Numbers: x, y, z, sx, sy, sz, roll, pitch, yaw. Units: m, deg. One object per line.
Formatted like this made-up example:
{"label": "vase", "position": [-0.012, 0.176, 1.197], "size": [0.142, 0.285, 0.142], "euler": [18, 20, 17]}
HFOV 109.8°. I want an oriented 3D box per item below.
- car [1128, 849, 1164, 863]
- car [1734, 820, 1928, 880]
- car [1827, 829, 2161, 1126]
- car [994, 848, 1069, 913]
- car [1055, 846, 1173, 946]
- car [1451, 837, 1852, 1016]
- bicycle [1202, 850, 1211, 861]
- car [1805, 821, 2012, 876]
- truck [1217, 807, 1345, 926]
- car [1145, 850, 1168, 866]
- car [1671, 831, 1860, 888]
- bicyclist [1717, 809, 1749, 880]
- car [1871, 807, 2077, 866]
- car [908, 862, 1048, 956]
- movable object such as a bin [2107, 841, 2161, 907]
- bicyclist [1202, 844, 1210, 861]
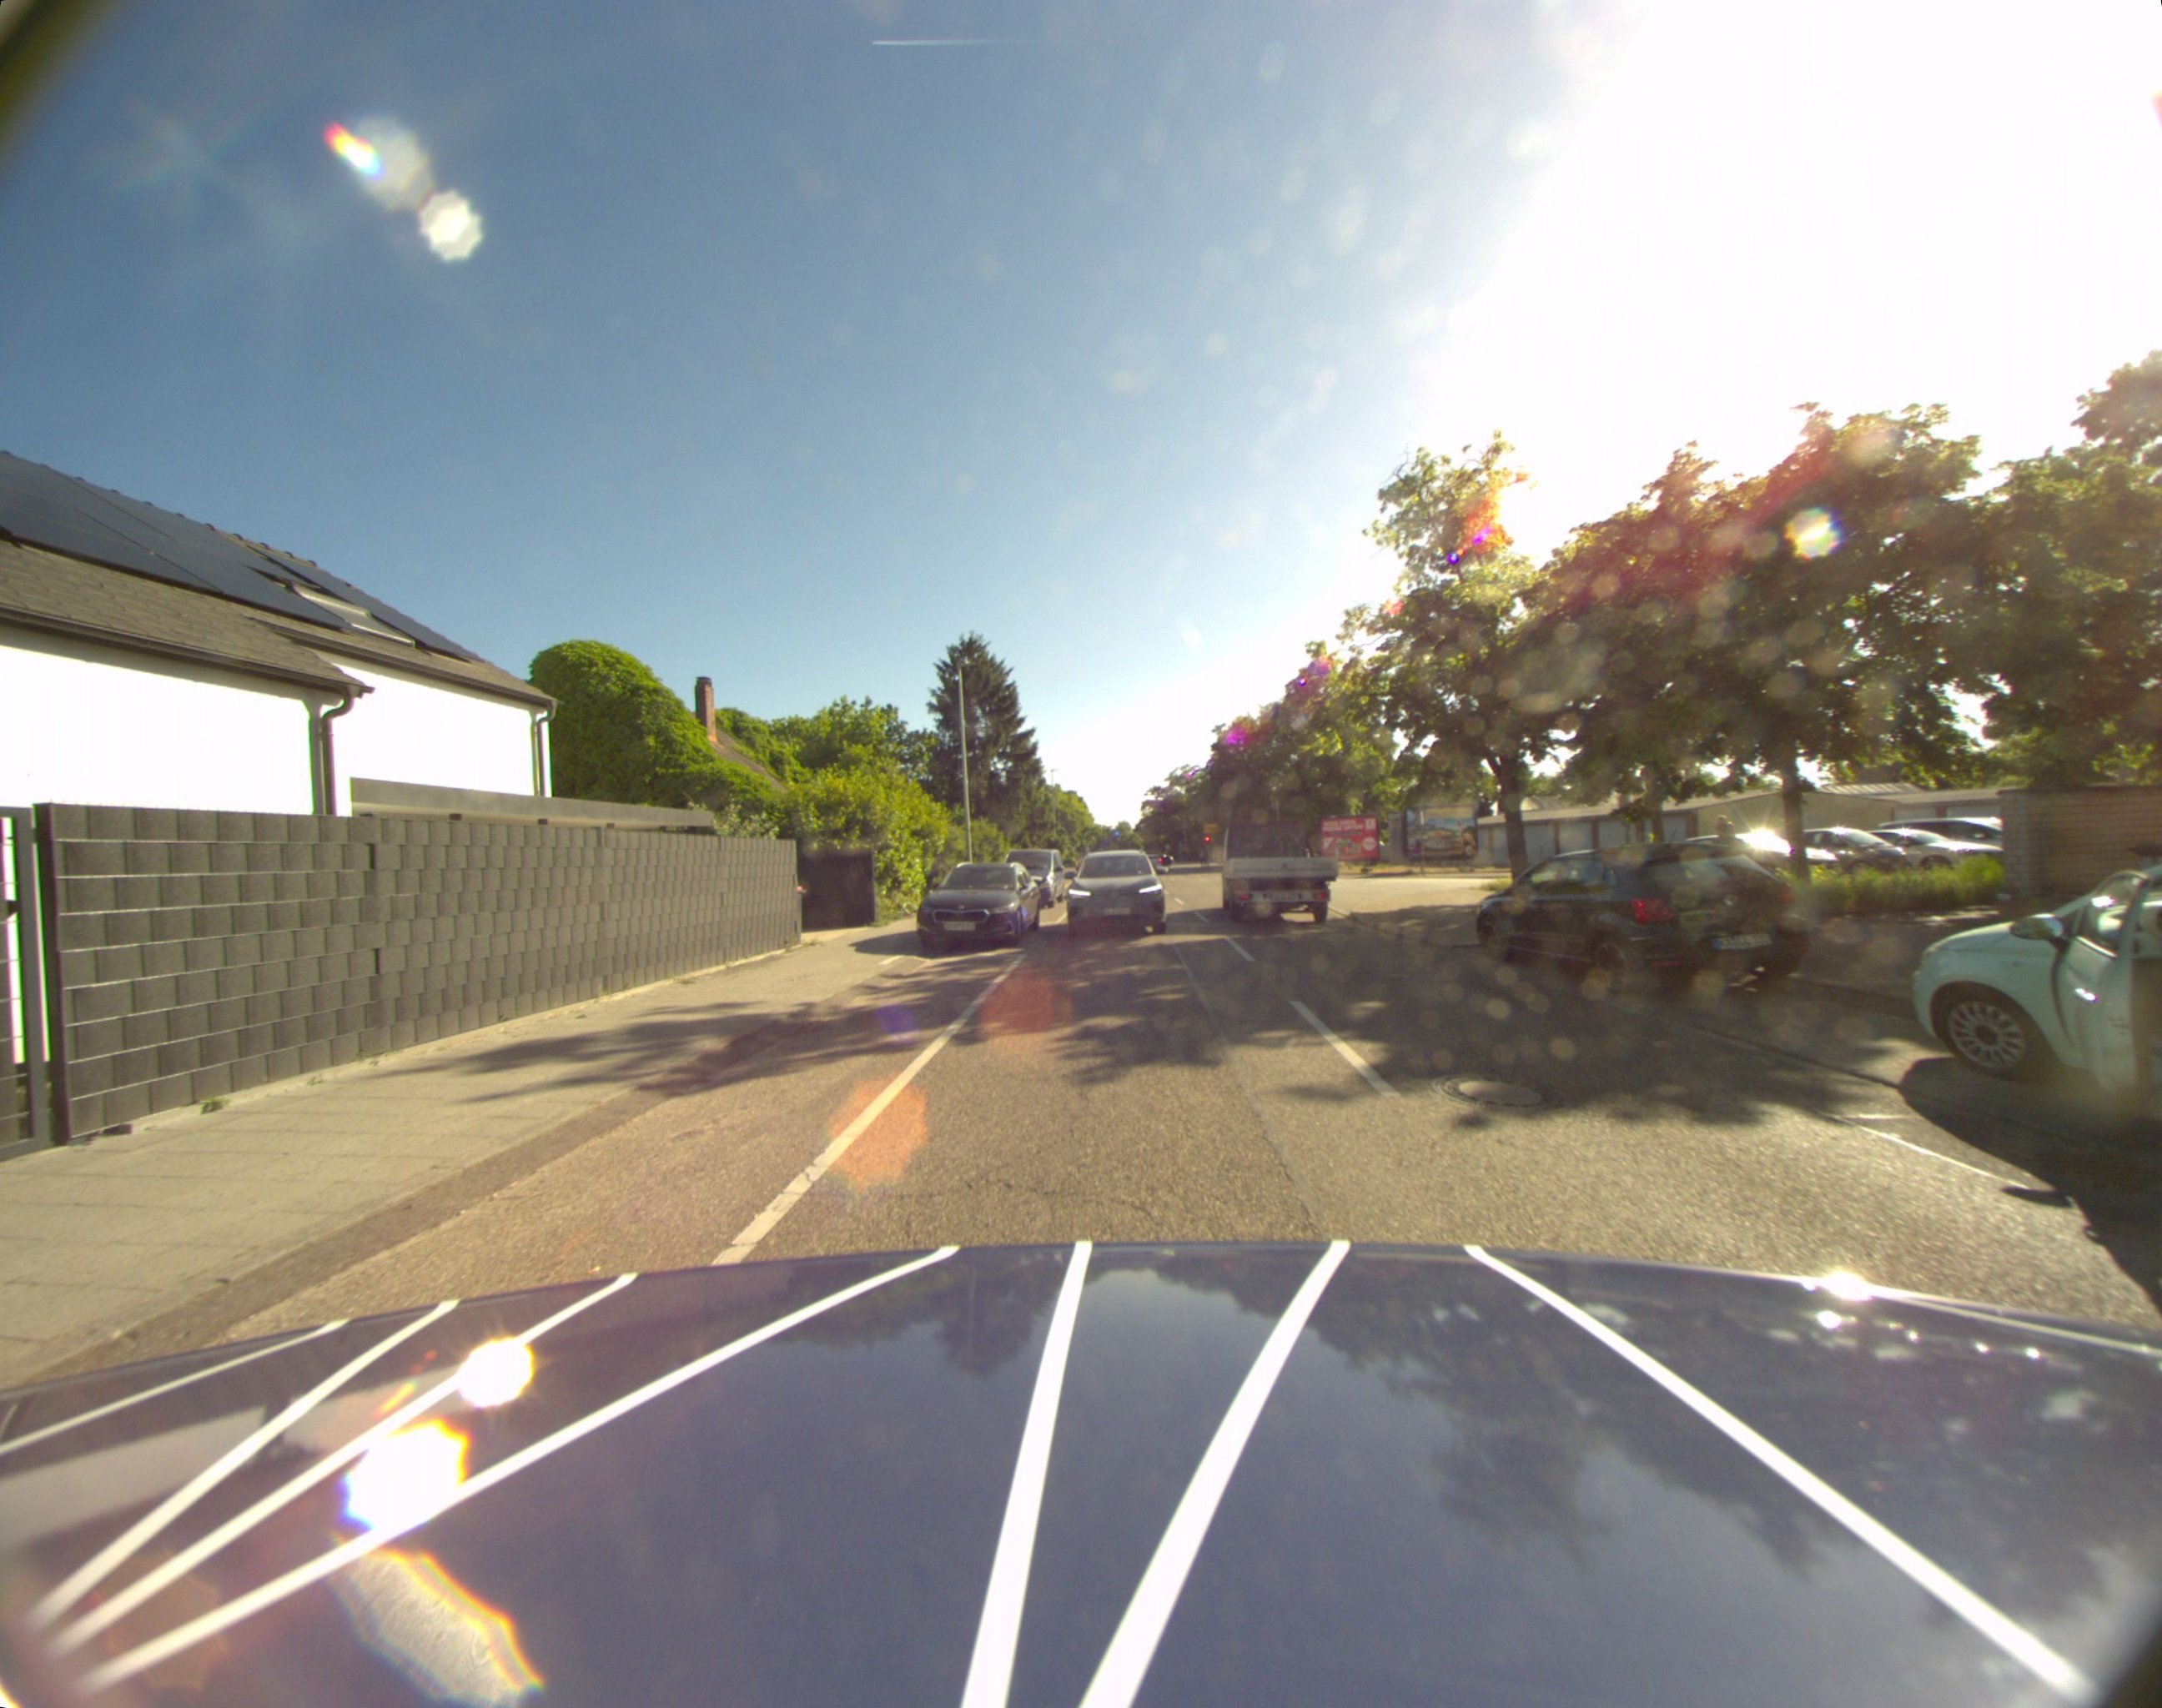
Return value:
{"label": "car", "position": [7.707, 0.236, 90.910], "size": [3.999, 1.559, 1.710], "euler": [-2, 0, -6]}
{"label": "car", "position": [22.727, -0.069, 23.237], "size": [1.703, 1.612, 3.878], "euler": [-3, -1, -13]}
{"label": "car", "position": [6.472, 0.651, 3.796], "size": [1.704, 1.514, 4.052], "euler": [-1, 2, 5]}
{"label": "car", "position": [-1.572, 0.798, 25.754], "size": [1.841, 1.896, 4.698], "euler": [-3, 0, 4]}
{"label": "car", "position": [0.752, 0.734, 15.720], "size": [1.992, 1.631, 4.365], "euler": [-3, 1, 4]}
{"label": "car", "position": [6.194, 0.620, 8.957], "size": [1.705, 1.472, 4.051], "euler": [-4, 2, 1]}
{"label": "bicycle", "position": [12.767, 0.143, 77.334], "size": [0.528, 1.135, 2.025], "euler": [-3, 0, -3]}
{"label": "car", "position": [24.928, -0.106, 23.099], "size": [1.703, 1.455, 3.878], "euler": [-3, -1, -13]}
{"label": "truck", "position": [4.523, 0.216, 18.226], "size": [2.134, 2.321, 6.445], "euler": [-1, 1, 8]}
{"label": "car", "position": [7.153, 0.364, 72.728], "size": [1.841, 1.480, 4.890], "euler": [-2, 0, 2]}
{"label": "car", "position": [19.984, 0.168, 22.420], "size": [1.734, 1.455, 3.878], "euler": [-2, 0, -10]}
{"label": "bicyclist", "position": [15.608, -0.220, 18.200], "size": [0.390, 1.675, 0.381], "euler": [-4, 0, -29]}
{"label": "car", "position": [27.968, -0.480, 23.998], "size": [1.703, 1.669, 3.879], "euler": [-2, 0, -9]}
{"label": "car", "position": [-1.827, 0.943, 15.133], "size": [1.769, 1.471, 4.992], "euler": [-1, 0, 4]}
{"label": "movable object such as a bin", "position": [15.464, 0.279, 10.816], "size": [0.698, 0.905, 0.746], "euler": [-2, 0, -5]}
{"label": "bicyclist", "position": [12.757, -0.141, 77.361], "size": [0.542, 1.632, 0.829], "euler": [-3, 0, -3]}
